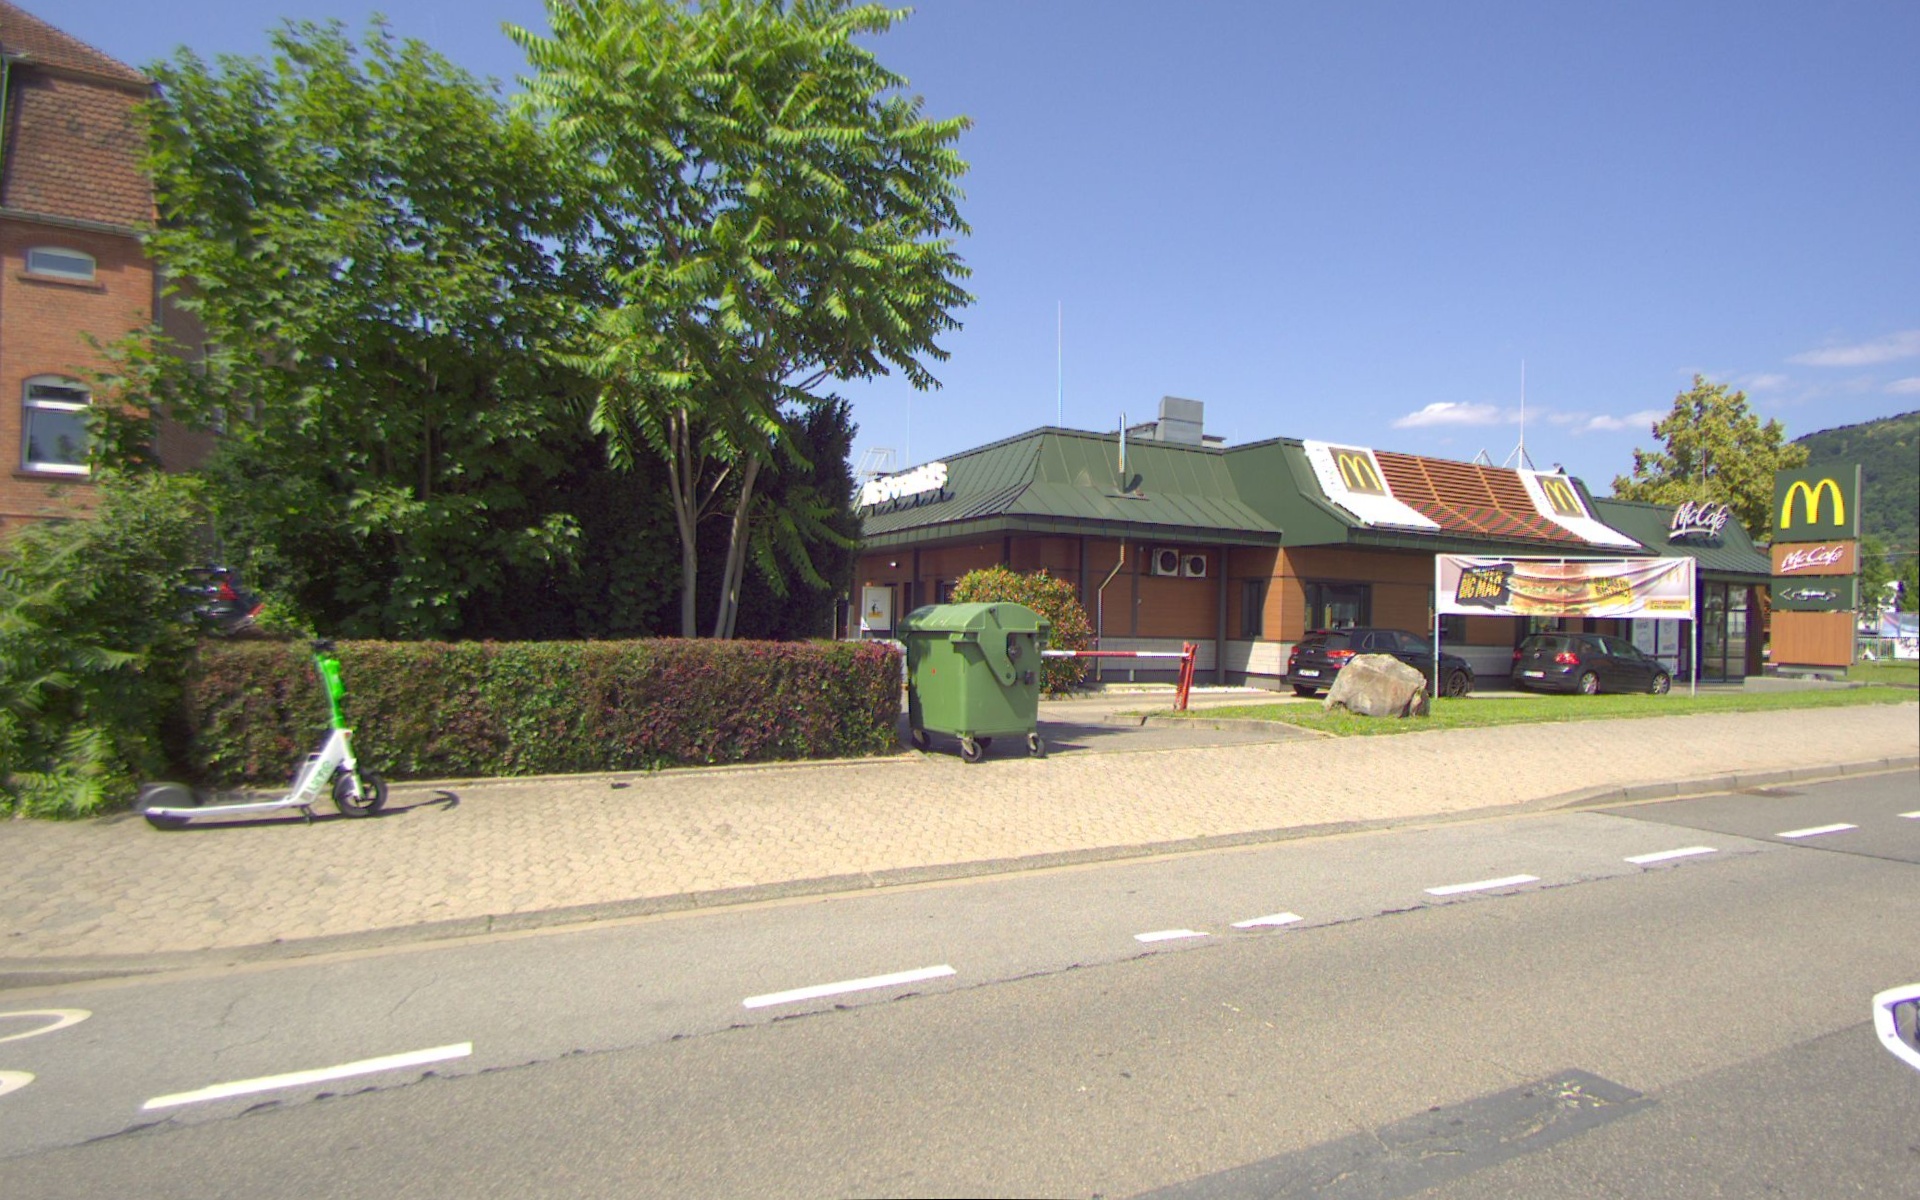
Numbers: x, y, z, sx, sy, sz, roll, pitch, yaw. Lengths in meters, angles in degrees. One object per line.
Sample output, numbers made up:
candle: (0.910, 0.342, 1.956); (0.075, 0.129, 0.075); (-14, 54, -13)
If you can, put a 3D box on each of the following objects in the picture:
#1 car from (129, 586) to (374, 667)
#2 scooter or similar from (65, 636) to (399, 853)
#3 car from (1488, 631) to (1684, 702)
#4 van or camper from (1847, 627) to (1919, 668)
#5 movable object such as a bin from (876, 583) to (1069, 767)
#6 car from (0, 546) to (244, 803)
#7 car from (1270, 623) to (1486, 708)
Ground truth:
car: (-15.986, 0.584, 23.028); (2.112, 1.655, 4.482); (0, -1, 7)
scooter or similar: (-4.435, 0.825, 6.259); (1.605, 1.143, 0.643); (1, 3, -33)
car: (14.799, 1.509, 23.759); (4.072, 1.435, 1.988); (1, 2, -24)
van or camper: (42.389, 2.148, 44.861); (1.986, 1.595, 3.949); (0, 2, -43)
movable object such as a bin: (0.101, 0.669, 9.764); (1.294, 1.611, 1.439); (1, -1, -34)
car: (-8.006, 0.665, 8.910); (1.760, 1.864, 3.760); (1, -4, -21)
car: (8.687, 1.291, 20.823); (4.266, 1.496, 1.820); (1, 2, -28)
